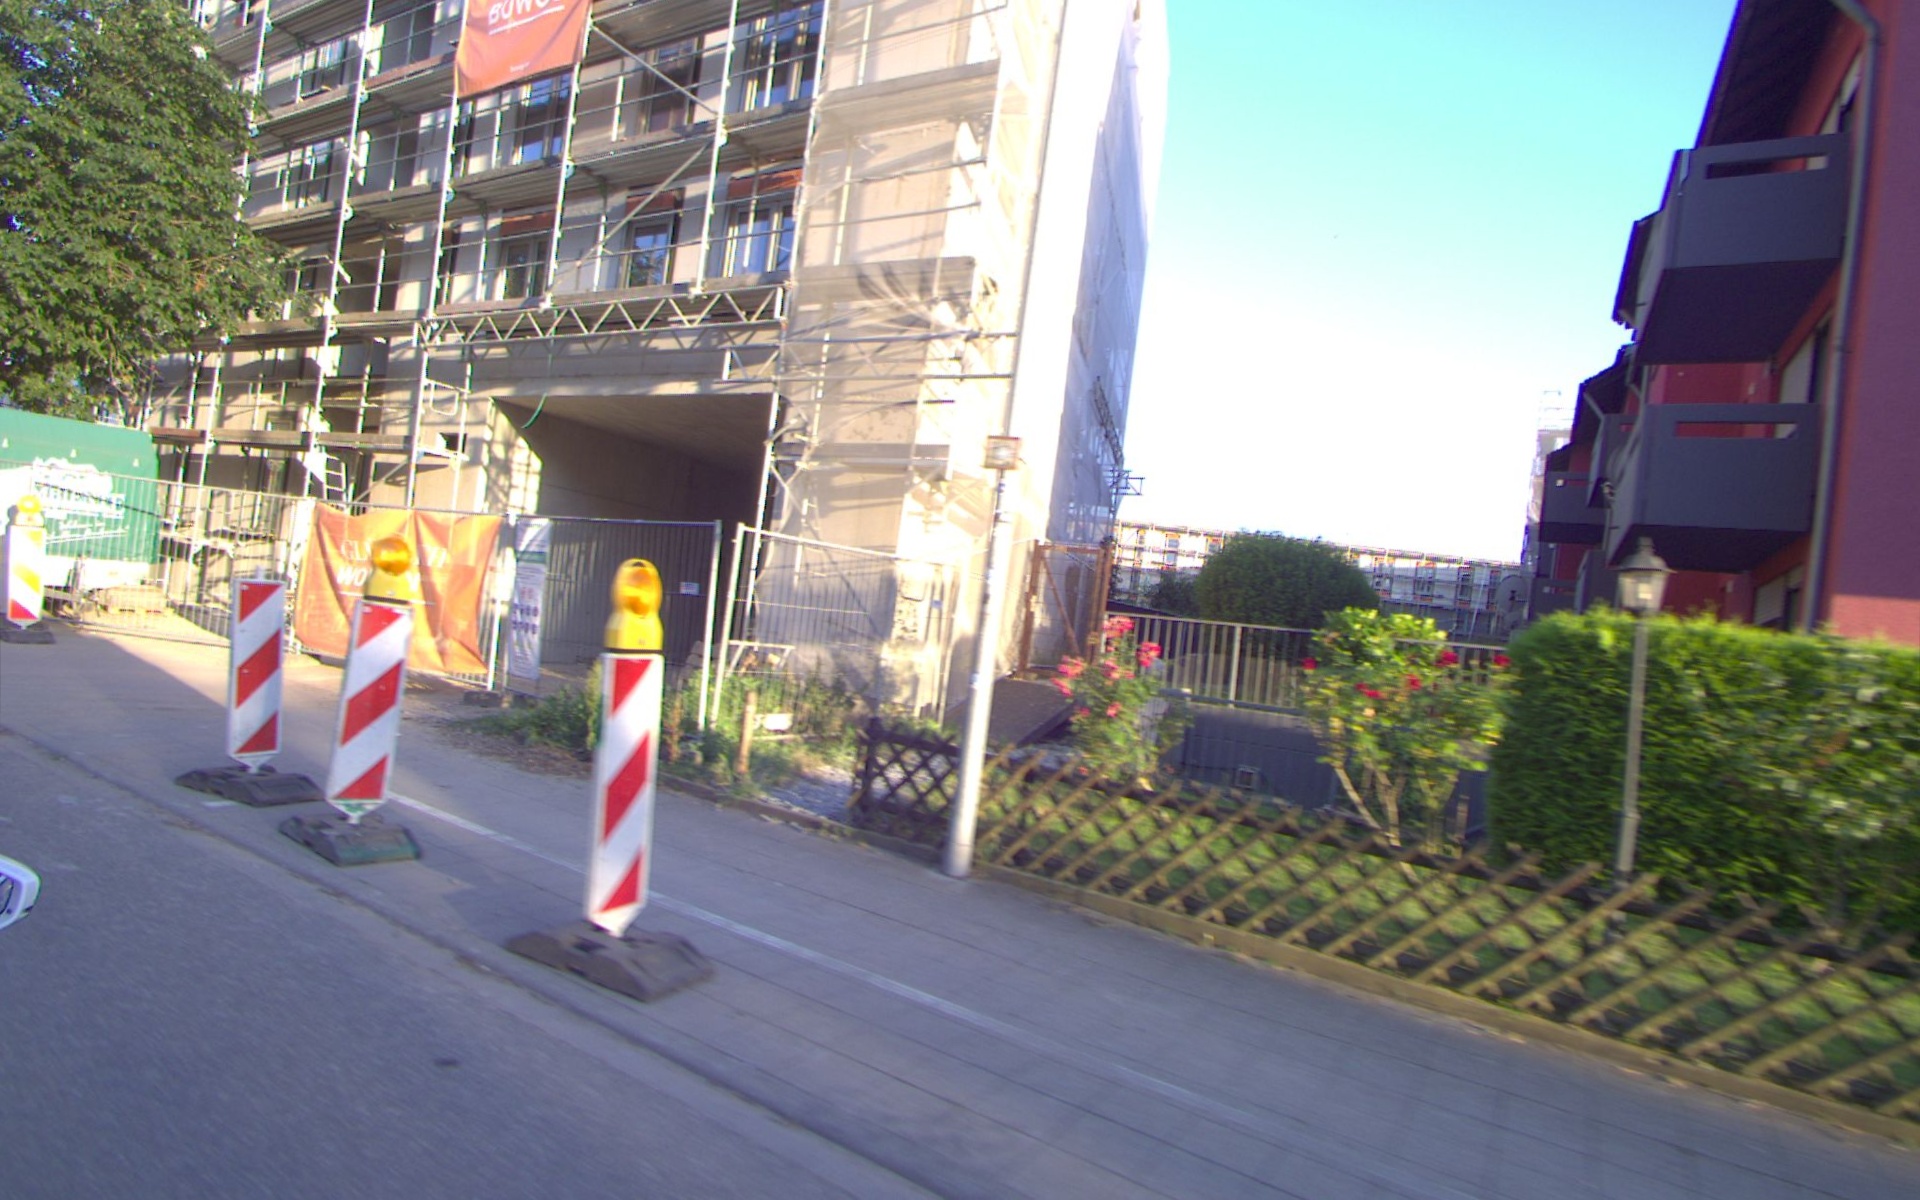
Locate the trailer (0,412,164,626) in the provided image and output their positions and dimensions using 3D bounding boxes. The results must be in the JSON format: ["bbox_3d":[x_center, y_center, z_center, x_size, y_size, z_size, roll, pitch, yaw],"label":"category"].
[{"bbox_3d":[-13.510,-1.217,14.308,4.118,2.569,1.996,7,-1,33],"label":"trailer"}]
